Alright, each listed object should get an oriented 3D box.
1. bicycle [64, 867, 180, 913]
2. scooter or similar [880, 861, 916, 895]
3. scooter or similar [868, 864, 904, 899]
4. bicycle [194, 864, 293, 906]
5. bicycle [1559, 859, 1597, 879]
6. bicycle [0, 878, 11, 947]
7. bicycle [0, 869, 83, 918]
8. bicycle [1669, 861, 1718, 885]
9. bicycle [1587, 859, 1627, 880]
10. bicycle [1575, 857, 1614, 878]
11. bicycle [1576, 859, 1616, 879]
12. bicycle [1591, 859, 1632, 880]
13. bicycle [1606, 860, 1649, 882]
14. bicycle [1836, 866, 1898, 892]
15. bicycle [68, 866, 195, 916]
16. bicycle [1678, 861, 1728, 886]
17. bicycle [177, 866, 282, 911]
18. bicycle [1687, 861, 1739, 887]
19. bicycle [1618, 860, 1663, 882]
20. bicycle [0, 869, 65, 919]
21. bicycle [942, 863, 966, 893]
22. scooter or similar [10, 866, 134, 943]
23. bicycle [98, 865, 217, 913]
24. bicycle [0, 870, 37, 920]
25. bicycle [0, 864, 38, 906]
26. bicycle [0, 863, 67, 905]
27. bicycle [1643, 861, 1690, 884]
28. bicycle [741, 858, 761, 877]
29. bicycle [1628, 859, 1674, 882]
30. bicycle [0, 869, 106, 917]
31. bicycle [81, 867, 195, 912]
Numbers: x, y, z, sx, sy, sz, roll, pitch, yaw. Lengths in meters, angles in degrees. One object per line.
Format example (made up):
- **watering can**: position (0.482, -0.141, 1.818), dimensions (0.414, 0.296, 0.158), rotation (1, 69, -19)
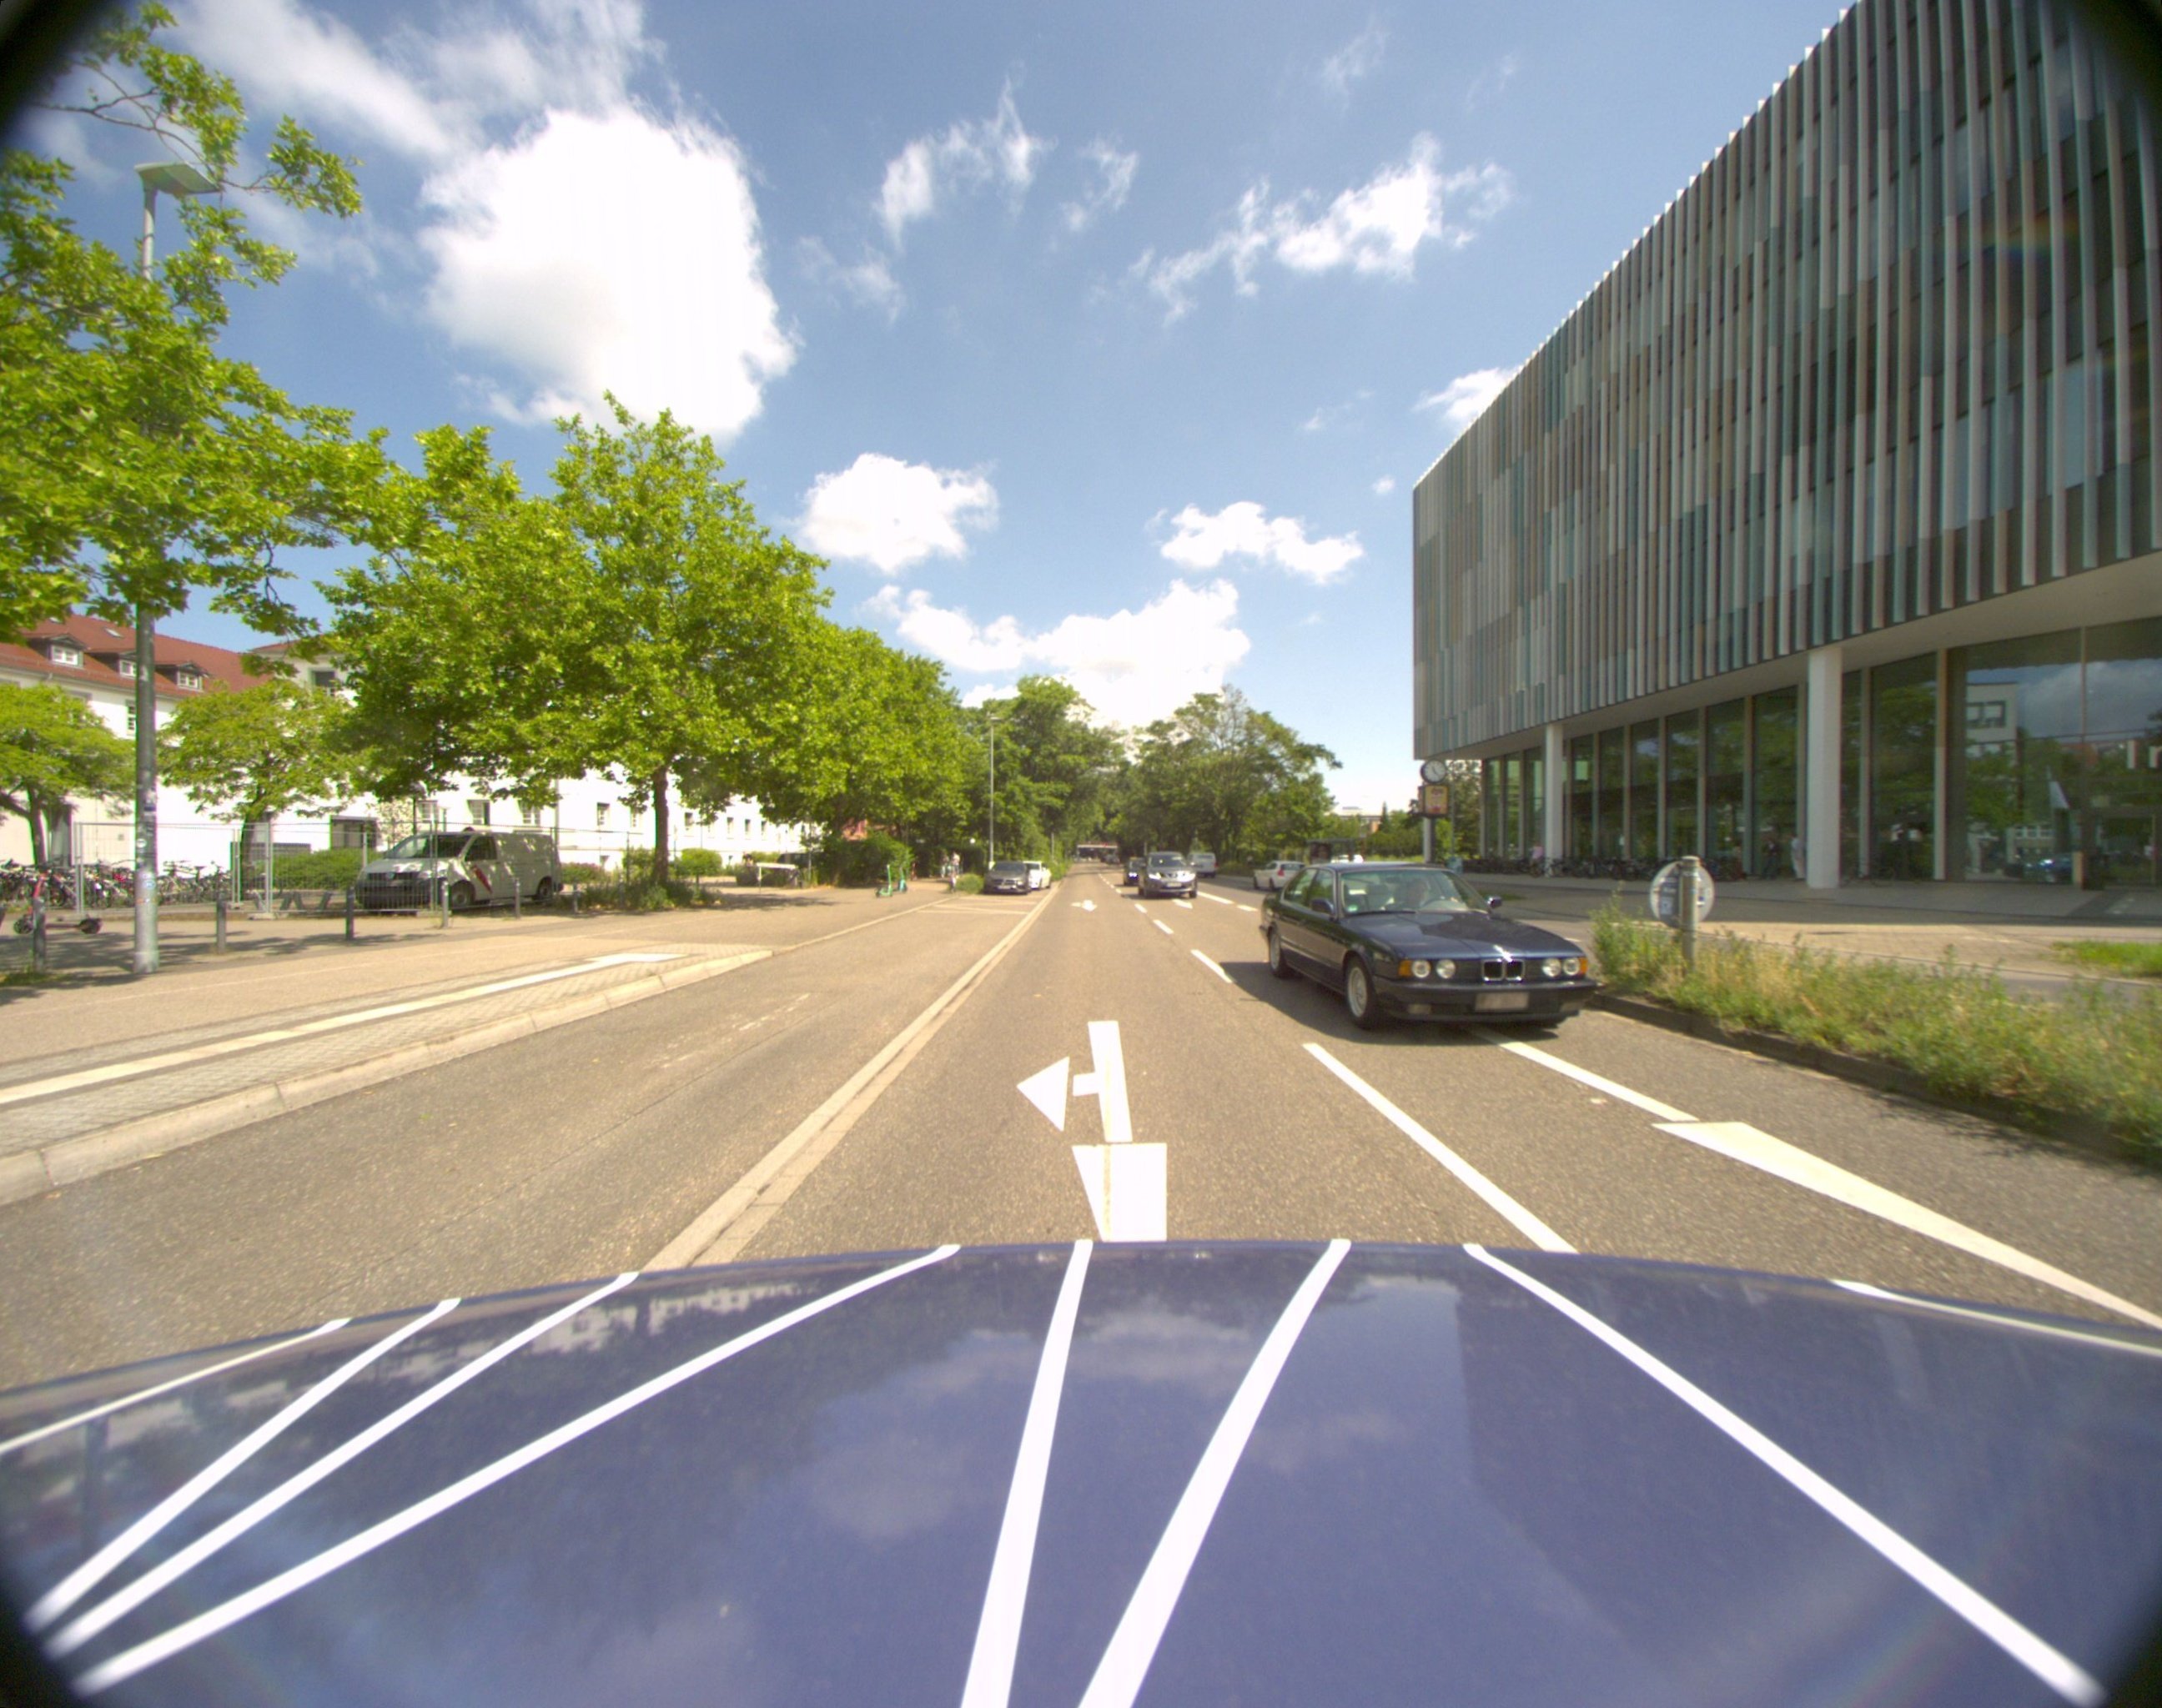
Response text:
- **bicycle**: position (-24.900, 0.921, 19.775), dimensions (1.770, 1.092, 0.515), rotation (-2, 1, -31)
- **scooter or similar**: position (-6.955, 0.897, 28.963), dimensions (0.528, 1.239, 1.292), rotation (1, 0, 34)
- **scooter or similar**: position (-6.810, 0.948, 26.638), dimensions (0.529, 1.162, 1.576), rotation (1, 0, 14)
- **bicycle**: position (-23.892, 0.870, 21.719), dimensions (1.770, 1.092, 0.602), rotation (-2, 1, -31)
- **bicycle**: position (25.208, 0.747, 38.556), dimensions (1.543, 0.950, 0.374), rotation (-2, 1, 15)
- **bicycle**: position (-17.806, 0.950, 11.478), dimensions (1.770, 1.092, 0.602), rotation (-2, 1, -31)
- **bicycle**: position (-25.242, 0.935, 18.020), dimensions (1.770, 1.092, 0.602), rotation (-2, 1, -31)
- **bicycle**: position (25.263, 0.776, 31.370), dimensions (1.543, 0.950, 0.374), rotation (-2, 1, 15)
- **bicycle**: position (25.108, 0.721, 36.293), dimensions (1.543, 0.950, 0.374), rotation (-2, 1, 15)
- **bicycle**: position (25.222, 0.668, 37.332), dimensions (1.543, 0.950, 0.374), rotation (-2, 1, 15)
- **bicycle**: position (25.046, 0.733, 36.944), dimensions (1.543, 0.950, 0.374), rotation (-2, 1, 15)
- **bicycle**: position (24.971, 0.746, 35.800), dimensions (1.543, 0.950, 0.374), rotation (-2, 1, 15)
- **bicycle**: position (25.105, 0.777, 34.907), dimensions (1.543, 0.950, 0.374), rotation (-2, 1, 15)
- **bicycle**: position (25.697, 0.822, 24.850), dimensions (1.545, 0.771, 0.373), rotation (-2, 1, 3)
- **bicycle**: position (-22.851, 0.865, 18.332), dimensions (1.770, 1.092, 0.602), rotation (-2, 1, -31)
- **bicycle**: position (25.132, 0.787, 30.702), dimensions (1.543, 0.950, 0.374), rotation (-2, 1, 15)
- **bicycle**: position (-23.121, 0.920, 20.671), dimensions (1.770, 1.092, 0.602), rotation (-2, 1, -31)
- **bicycle**: position (25.068, 0.794, 30.142), dimensions (1.543, 0.950, 0.374), rotation (-2, 1, 15)
- **bicycle**: position (24.858, 0.768, 33.775), dimensions (1.543, 0.950, 0.374), rotation (-2, 1, 15)
- **bicycle**: position (-24.865, 0.941, 17.407), dimensions (1.770, 1.092, 0.602), rotation (-2, 1, -31)
- **bicycle**: position (-5.208, 0.969, 31.295), dimensions (0.639, 1.183, 2.119), rotation (1, 0, 0)
- **scooter or similar**: position (-16.839, 0.829, 12.700), dimensions (1.299, 1.226, 0.280), rotation (-1, 2, -14)
- **bicycle**: position (-23.345, 0.874, 19.256), dimensions (1.770, 1.092, 0.602), rotation (-2, 1, -31)
- **bicycle**: position (-24.481, 0.935, 16.642), dimensions (1.770, 1.092, 0.602), rotation (-2, 1, -31)
- **bicycle**: position (-29.031, 0.844, 19.970), dimensions (1.770, 1.092, 0.602), rotation (-2, 1, -31)
- **bicycle**: position (-29.172, 0.832, 20.677), dimensions (1.770, 1.092, 0.602), rotation (-2, 1, -31)
- **bicycle**: position (25.089, 0.783, 32.558), dimensions (1.543, 0.950, 0.374), rotation (-2, 1, 15)
- **bicycle**: position (-20.421, 0.801, 46.997), dimensions (0.607, 1.131, 1.587), rotation (1, 1, -2)
- **bicycle**: position (24.839, 0.727, 33.121), dimensions (1.543, 0.950, 0.374), rotation (-2, 1, 15)
- **bicycle**: position (-25.518, 0.952, 18.677), dimensions (1.770, 1.092, 0.602), rotation (-2, 1, -31)
- **bicycle**: position (-25.178, 0.926, 20.328), dimensions (1.770, 1.092, 0.591), rotation (-2, 1, -31)
